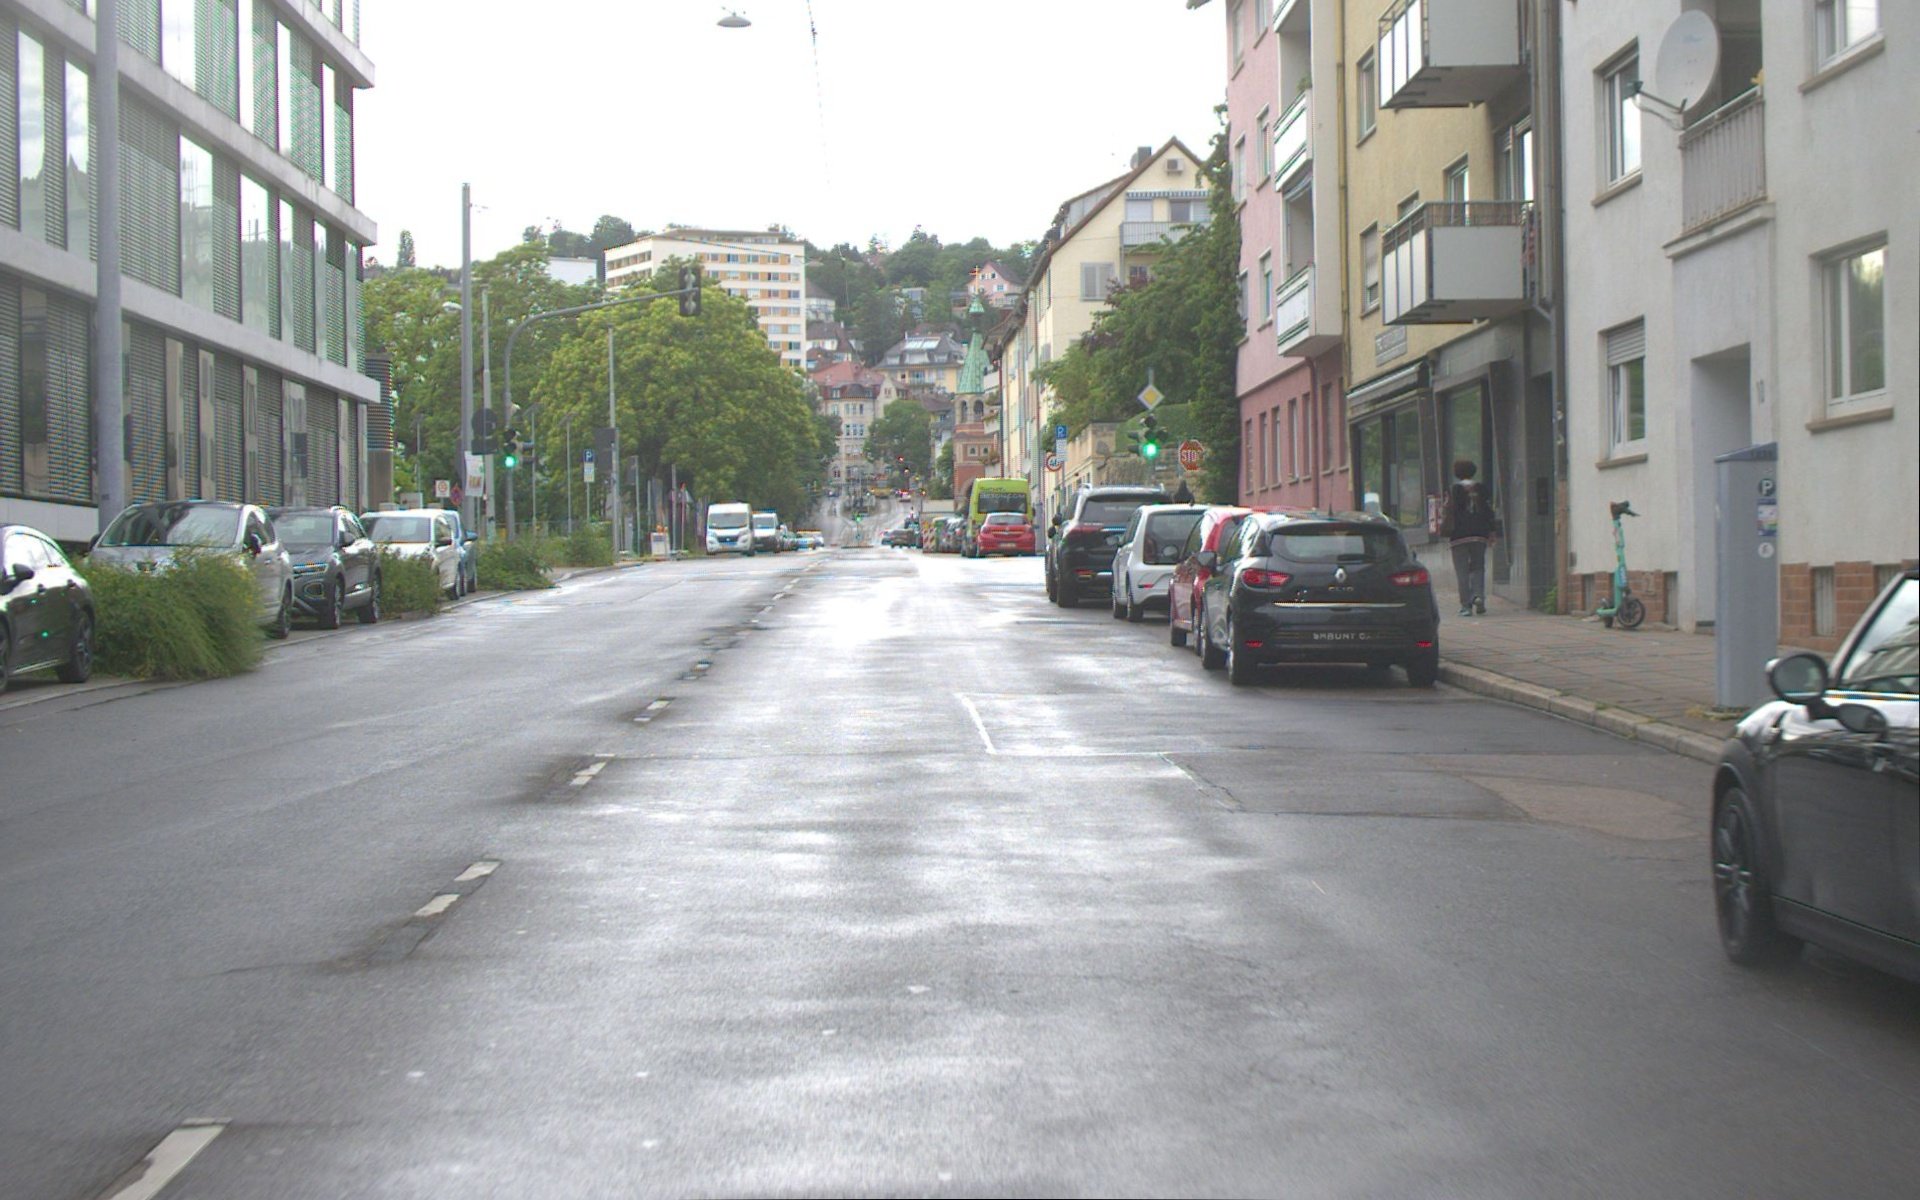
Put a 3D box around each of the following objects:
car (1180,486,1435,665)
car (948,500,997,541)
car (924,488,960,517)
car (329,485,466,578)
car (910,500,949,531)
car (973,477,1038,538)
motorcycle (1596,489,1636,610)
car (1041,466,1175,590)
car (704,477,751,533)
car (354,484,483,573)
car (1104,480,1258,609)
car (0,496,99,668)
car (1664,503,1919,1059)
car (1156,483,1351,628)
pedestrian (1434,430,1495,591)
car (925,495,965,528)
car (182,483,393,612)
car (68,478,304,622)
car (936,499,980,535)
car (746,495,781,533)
[{"bbox_3d":[2.944,-0.238,29.860,1.706,1.449,3.985,0,1,-2],"label":"car"},{"bbox_3d":[0.507,-3.173,137.344,1.867,1.598,4.189,0,1,2],"label":"car"},{"bbox_3d":[-0.987,-5.407,191.101,1.867,1.598,4.189,0,1,2],"label":"car"},{"bbox_3d":[-9.058,-1.128,55.599,1.595,1.454,3.719,0,2,0],"label":"car"},{"bbox_3d":[-1.599,-4.419,180.200,1.867,1.598,4.189,0,1,2],"label":"car"},{"bbox_3d":[1.366,-2.729,102.013,1.867,1.764,4.189,0,1,2],"label":"car"},{"bbox_3d":[6.351,-0.489,33.284,0.252,1.161,0.781,0,1,1],"label":"motorcycle"},{"bbox_3d":[2.123,-1.078,50.187,1.654,1.732,4.180,0,2,-2],"label":"car"},{"bbox_3d":[-10.650,-4.328,157.448,2.105,2.537,4.751,0,1,-3],"label":"car"},{"bbox_3d":[-9.546,-1.285,60.914,1.866,1.520,4.197,0,2,-4],"label":"car"},{"bbox_3d":[2.779,-0.717,43.873,1.635,1.565,3.711,0,1,-2],"label":"car"},{"bbox_3d":[-8.699,-0.176,29.010,1.837,1.391,4.393,0,1,-1],"label":"car"},{"bbox_3d":[3.379,0.461,10.254,1.673,1.454,3.765,0,2,-2],"label":"car"},{"bbox_3d":[2.957,-0.473,35.209,1.582,1.408,3.654,0,1,-2],"label":"car"},{"bbox_3d":[5.876,-1.036,40.071,0.639,1.864,0.538,0,1,1],"label":"pedestrian"},{"bbox_3d":[-0.744,-4.413,172.039,1.867,1.598,4.189,0,1,2],"label":"car"},{"bbox_3d":[-8.680,-0.682,44.693,1.801,1.598,4.234,0,1,2],"label":"car"},{"bbox_3d":[-8.614,-0.602,38.608,1.771,1.529,4.317,0,2,-1],"label":"car"},{"bbox_3d":[-0.069,-3.785,156.694,1.867,1.598,4.189,0,1,2],"label":"car"},{"bbox_3d":[-11.233,-4.878,196.307,1.866,2.134,4.360,0,1,-5],"label":"car"}]
